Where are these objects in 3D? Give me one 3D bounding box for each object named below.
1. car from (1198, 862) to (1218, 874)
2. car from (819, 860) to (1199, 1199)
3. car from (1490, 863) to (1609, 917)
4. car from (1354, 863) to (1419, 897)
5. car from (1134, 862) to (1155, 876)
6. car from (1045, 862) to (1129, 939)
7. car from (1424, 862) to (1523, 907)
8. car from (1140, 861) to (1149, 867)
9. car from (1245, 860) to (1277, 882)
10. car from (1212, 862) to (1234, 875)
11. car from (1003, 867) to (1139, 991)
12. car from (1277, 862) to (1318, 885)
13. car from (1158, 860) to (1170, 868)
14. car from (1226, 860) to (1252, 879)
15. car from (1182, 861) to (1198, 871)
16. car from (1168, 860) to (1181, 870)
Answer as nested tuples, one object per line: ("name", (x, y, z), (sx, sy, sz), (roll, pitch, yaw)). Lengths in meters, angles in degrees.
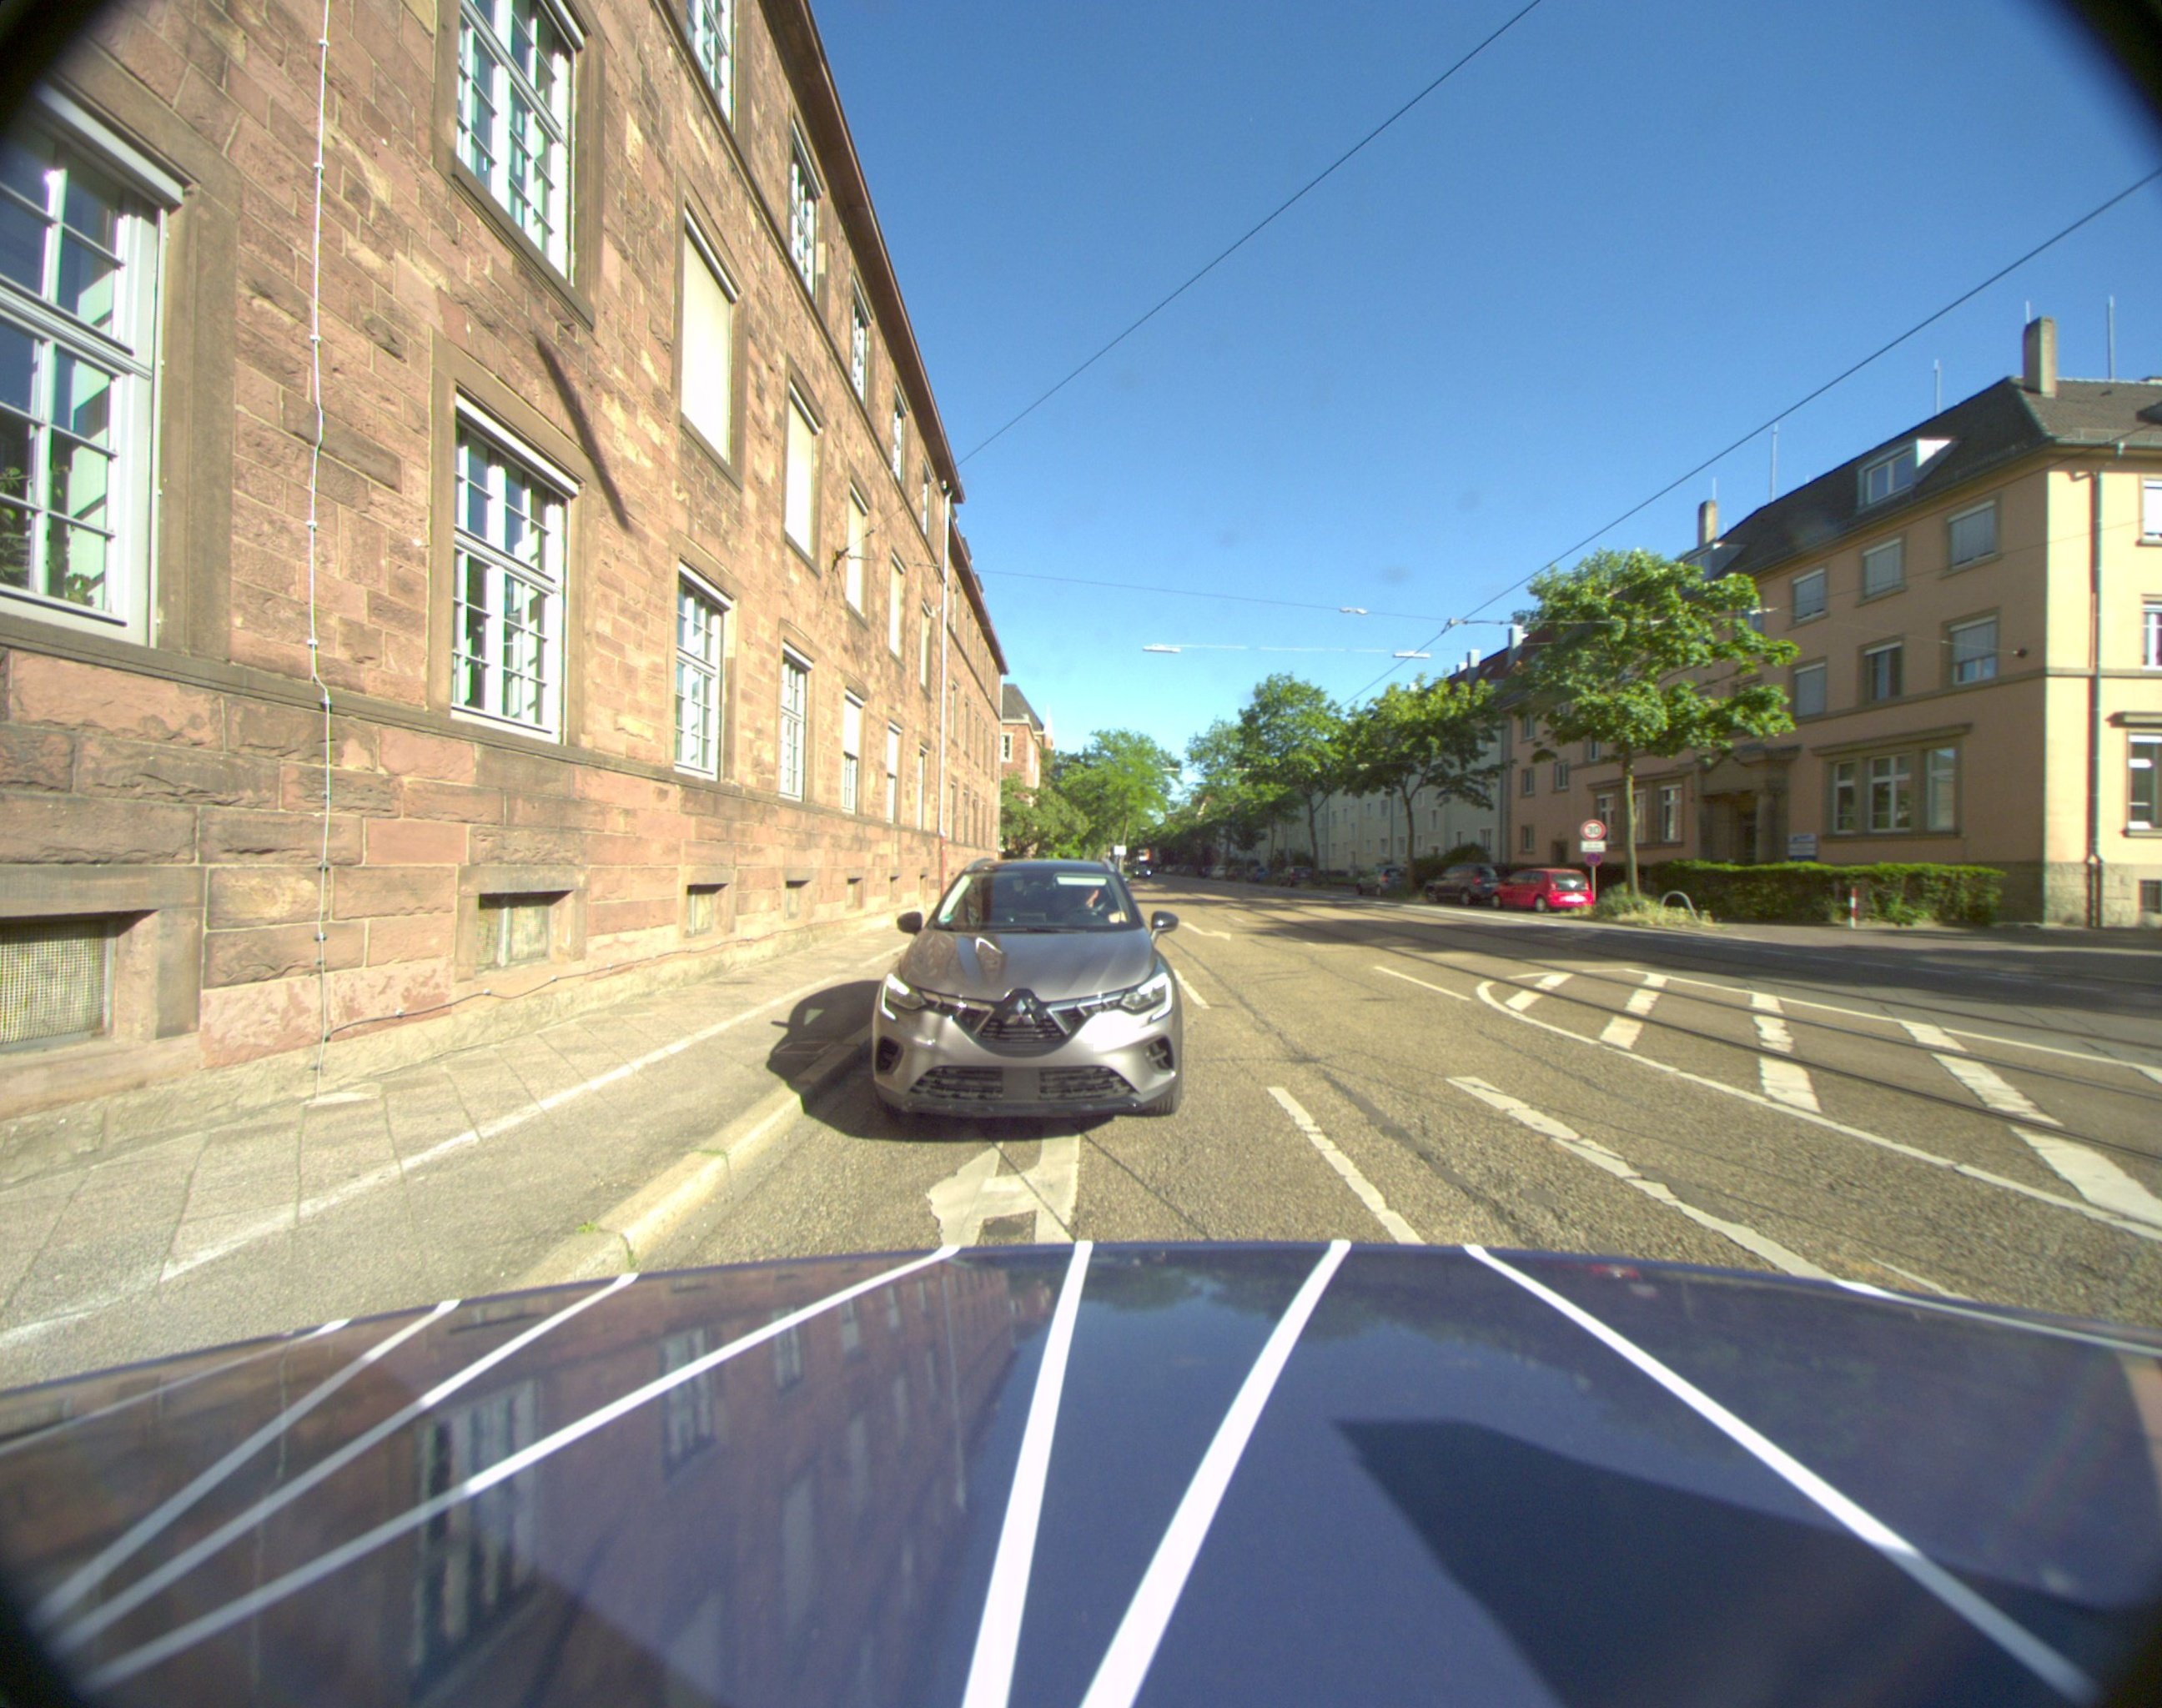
("car", (15.846, 1.763, 94.847), (1.816, 1.411, 3.630), (1, 0, -2))
("car", (-0.389, 0.848, 5.529), (1.796, 1.595, 3.799), (-1, 0, -2))
("car", (15.855, 1.169, 25.929), (1.816, 1.696, 3.374), (1, 0, -3))
("car", (15.733, 1.304, 39.347), (1.816, 1.648, 3.877), (1, 0, 1))
("car", (7.163, 1.672, 86.289), (1.912, 1.510, 4.000), (1, 0, -1))
("car", (0.074, 1.020, 18.480), (1.796, 1.638, 4.083), (-1, 0, -2))
("car", (15.645, 1.173, 30.537), (1.816, 1.648, 3.819), (1, 0, -3))
("car", (16.070, 2.493, 191.242), (1.816, 1.411, 3.630), (1, 0, -2))
("car", (15.973, 1.477, 67.484), (1.816, 1.814, 3.795), (1, 0, -2))
("car", (16.031, 1.674, 85.920), (1.816, 1.411, 3.630), (1, 0, -2))
("car", (-0.179, 1.037, 12.033), (1.796, 1.595, 3.799), (-1, 0, -2))
("car", (15.792, 1.432, 55.591), (1.816, 1.589, 3.630), (1, 0, -2))
("car", (15.979, 1.859, 146.866), (1.816, 1.514, 3.630), (1, 0, -2))
("car", (15.902, 1.535, 76.561), (1.816, 1.929, 3.630), (1, 0, -2))
("car", (16.039, 1.751, 111.799), (1.816, 1.411, 3.630), (1, 0, -2))
("car", (16.589, 1.950, 135.228), (1.816, 1.768, 3.630), (1, 0, -2))
